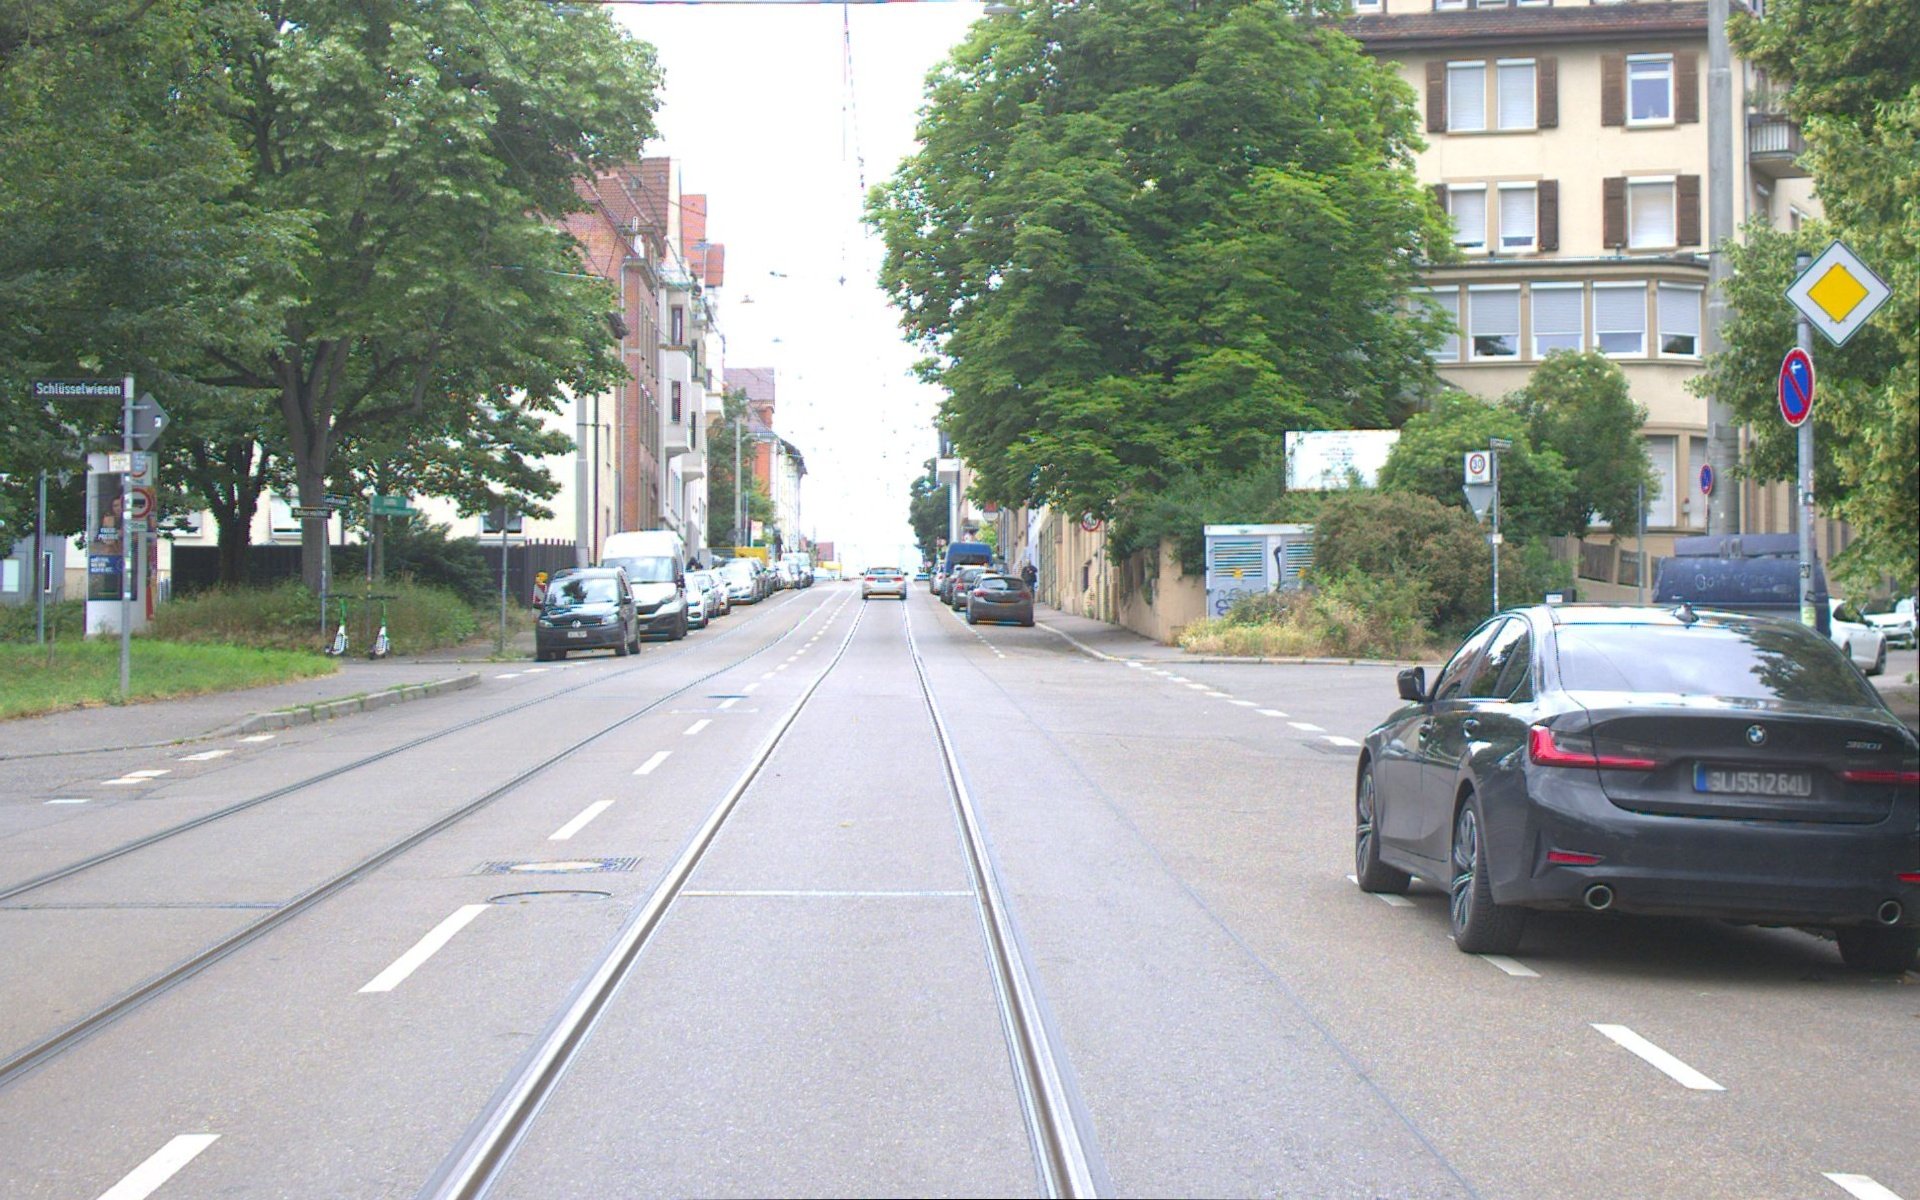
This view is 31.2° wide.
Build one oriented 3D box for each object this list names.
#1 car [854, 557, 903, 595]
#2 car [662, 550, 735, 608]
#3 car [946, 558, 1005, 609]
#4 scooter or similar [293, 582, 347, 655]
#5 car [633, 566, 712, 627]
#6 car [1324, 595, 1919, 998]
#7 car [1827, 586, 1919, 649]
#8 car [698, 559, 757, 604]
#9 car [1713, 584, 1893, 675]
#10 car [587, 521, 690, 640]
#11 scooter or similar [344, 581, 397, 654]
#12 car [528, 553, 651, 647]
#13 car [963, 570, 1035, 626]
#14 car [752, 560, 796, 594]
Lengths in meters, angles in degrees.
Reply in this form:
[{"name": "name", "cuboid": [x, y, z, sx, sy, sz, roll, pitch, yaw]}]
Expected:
[{"name": "car", "cuboid": [-3.392, -0.986, 143.050, 1.993, 1.493, 4.312, 1, 0, -1]}, {"name": "car", "cuboid": [-8.395, -0.648, 110.598, 1.993, 1.806, 4.312, 1, 0, 0]}, {"name": "car", "cuboid": [0.526, -0.560, 119.272, 1.993, 1.711, 4.000, 0, 0, -1]}, {"name": "scooter or similar", "cuboid": [-11.913, 0.339, 64.032, 0.691, 1.334, 1.639, 1, 0, 0]}, {"name": "car", "cuboid": [-7.812, -0.093, 93.775, 1.993, 1.595, 4.312, 1, 0, -3]}, {"name": "car", "cuboid": [2.865, 0.732, 15.181, 1.828, 1.425, 4.848, 2, 0, -1]}, {"name": "car", "cuboid": [24.410, 0.478, 91.328, 1.996, 1.612, 3.995, 1, 0, 24]}, {"name": "car", "cuboid": [-8.585, -0.666, 127.290, 1.924, 1.596, 4.000, 1, 0, -1]}, {"name": "car", "cuboid": [14.594, 0.507, 59.375, 1.996, 1.474, 4.457, 1, 0, 28]}, {"name": "car", "cuboid": [-7.759, -0.456, 83.459, 2.230, 2.755, 5.800, 1, 0, -3]}, {"name": "scooter or similar", "cuboid": [-10.958, 0.320, 63.969, 0.691, 1.334, 1.639, 1, 0, 0]}, {"name": "car", "cuboid": [-7.393, 0.010, 68.970, 1.993, 1.802, 4.000, 1, 0, 0]}, {"name": "car", "cuboid": [1.091, -0.056, 98.010, 1.993, 1.525, 4.312, 1, 0, 0]}, {"name": "car", "cuboid": [-9.027, -1.105, 166.816, 1.993, 1.596, 4.000, 1, 0, -1]}]
